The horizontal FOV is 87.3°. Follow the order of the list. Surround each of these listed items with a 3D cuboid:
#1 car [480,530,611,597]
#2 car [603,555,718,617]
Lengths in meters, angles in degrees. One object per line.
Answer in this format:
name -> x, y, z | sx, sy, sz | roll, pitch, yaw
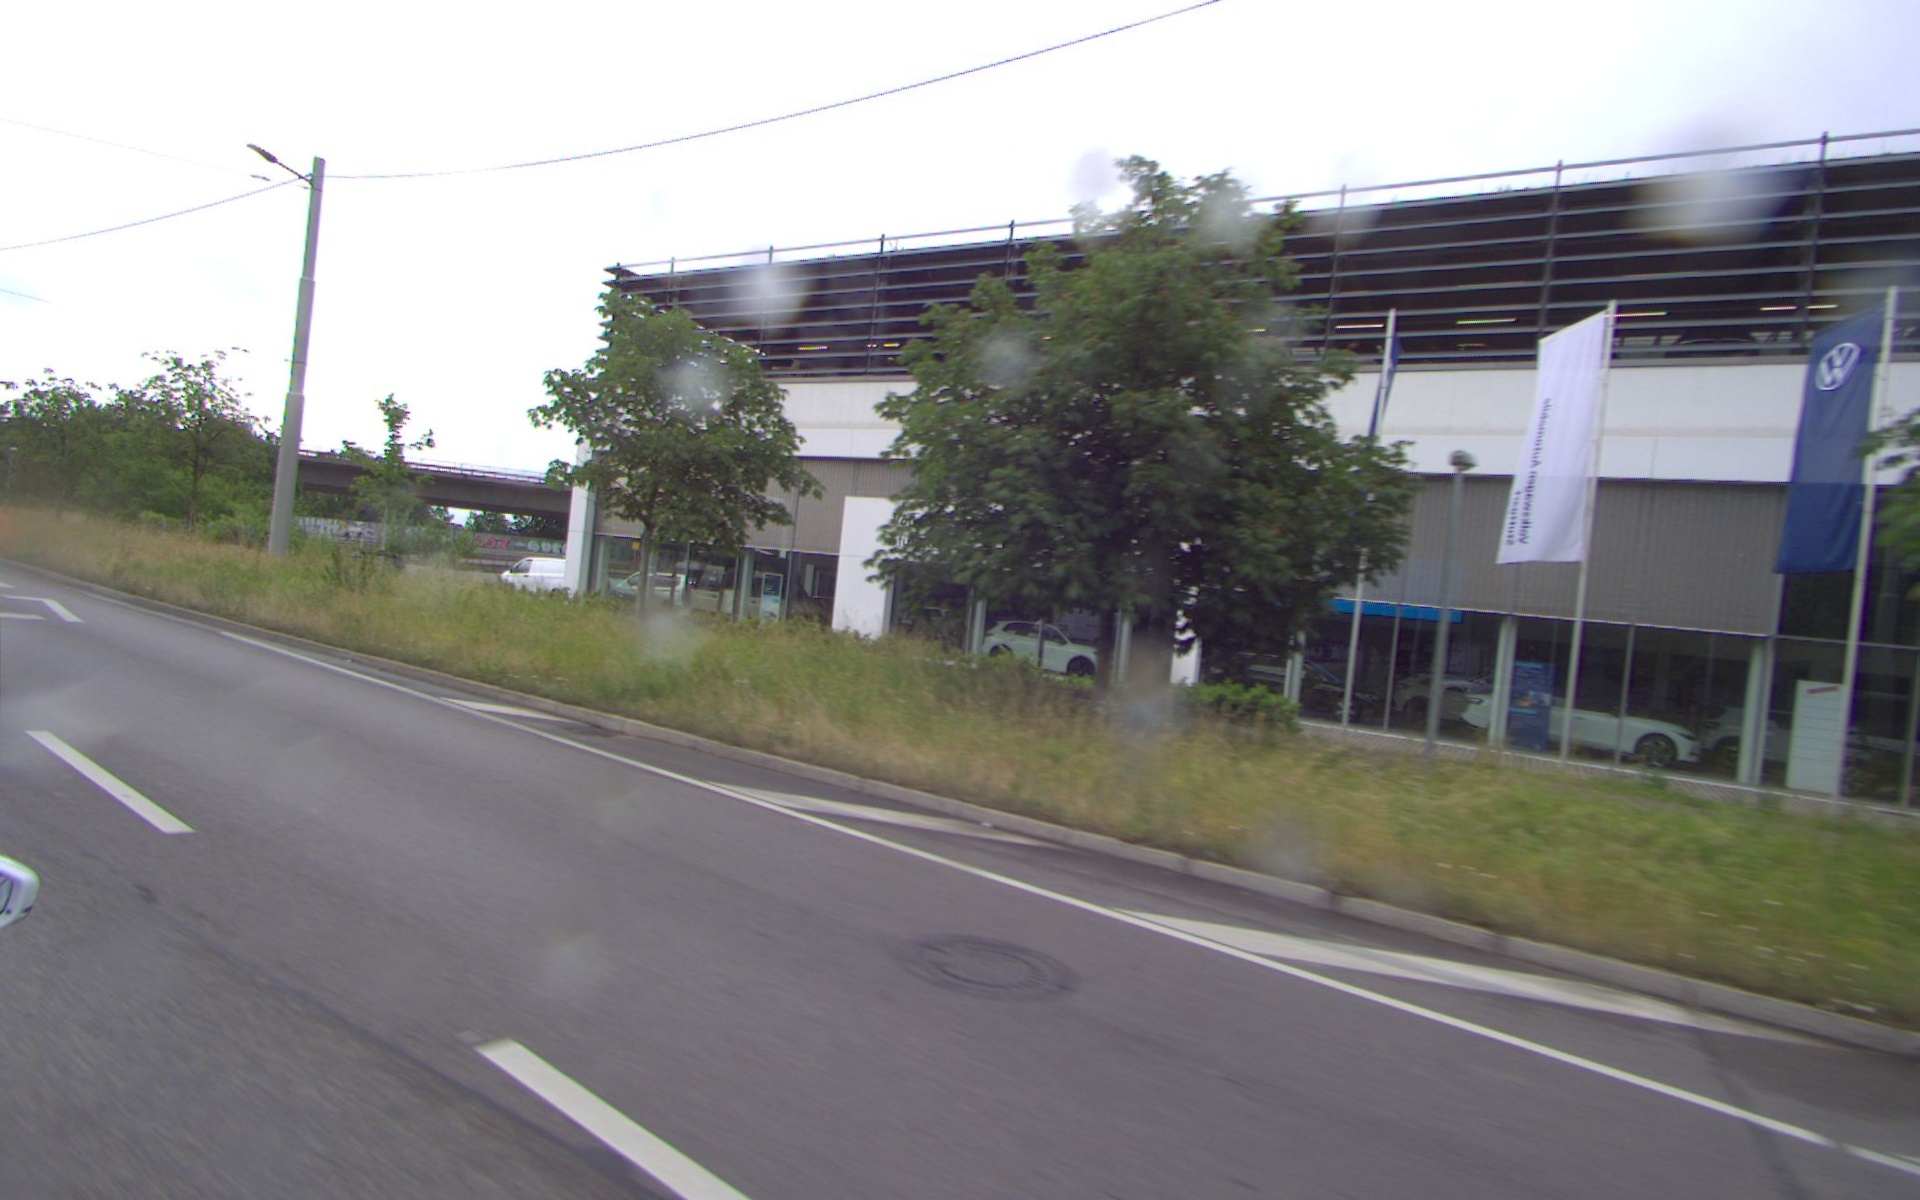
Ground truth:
car -> -16.885, -1.483, 40.967 | 5.002, 2.038, 2.048 | 7, -1, 28
car -> -13.299, -0.622, 44.562 | 4.625, 2.073, 1.952 | 7, -2, 28
